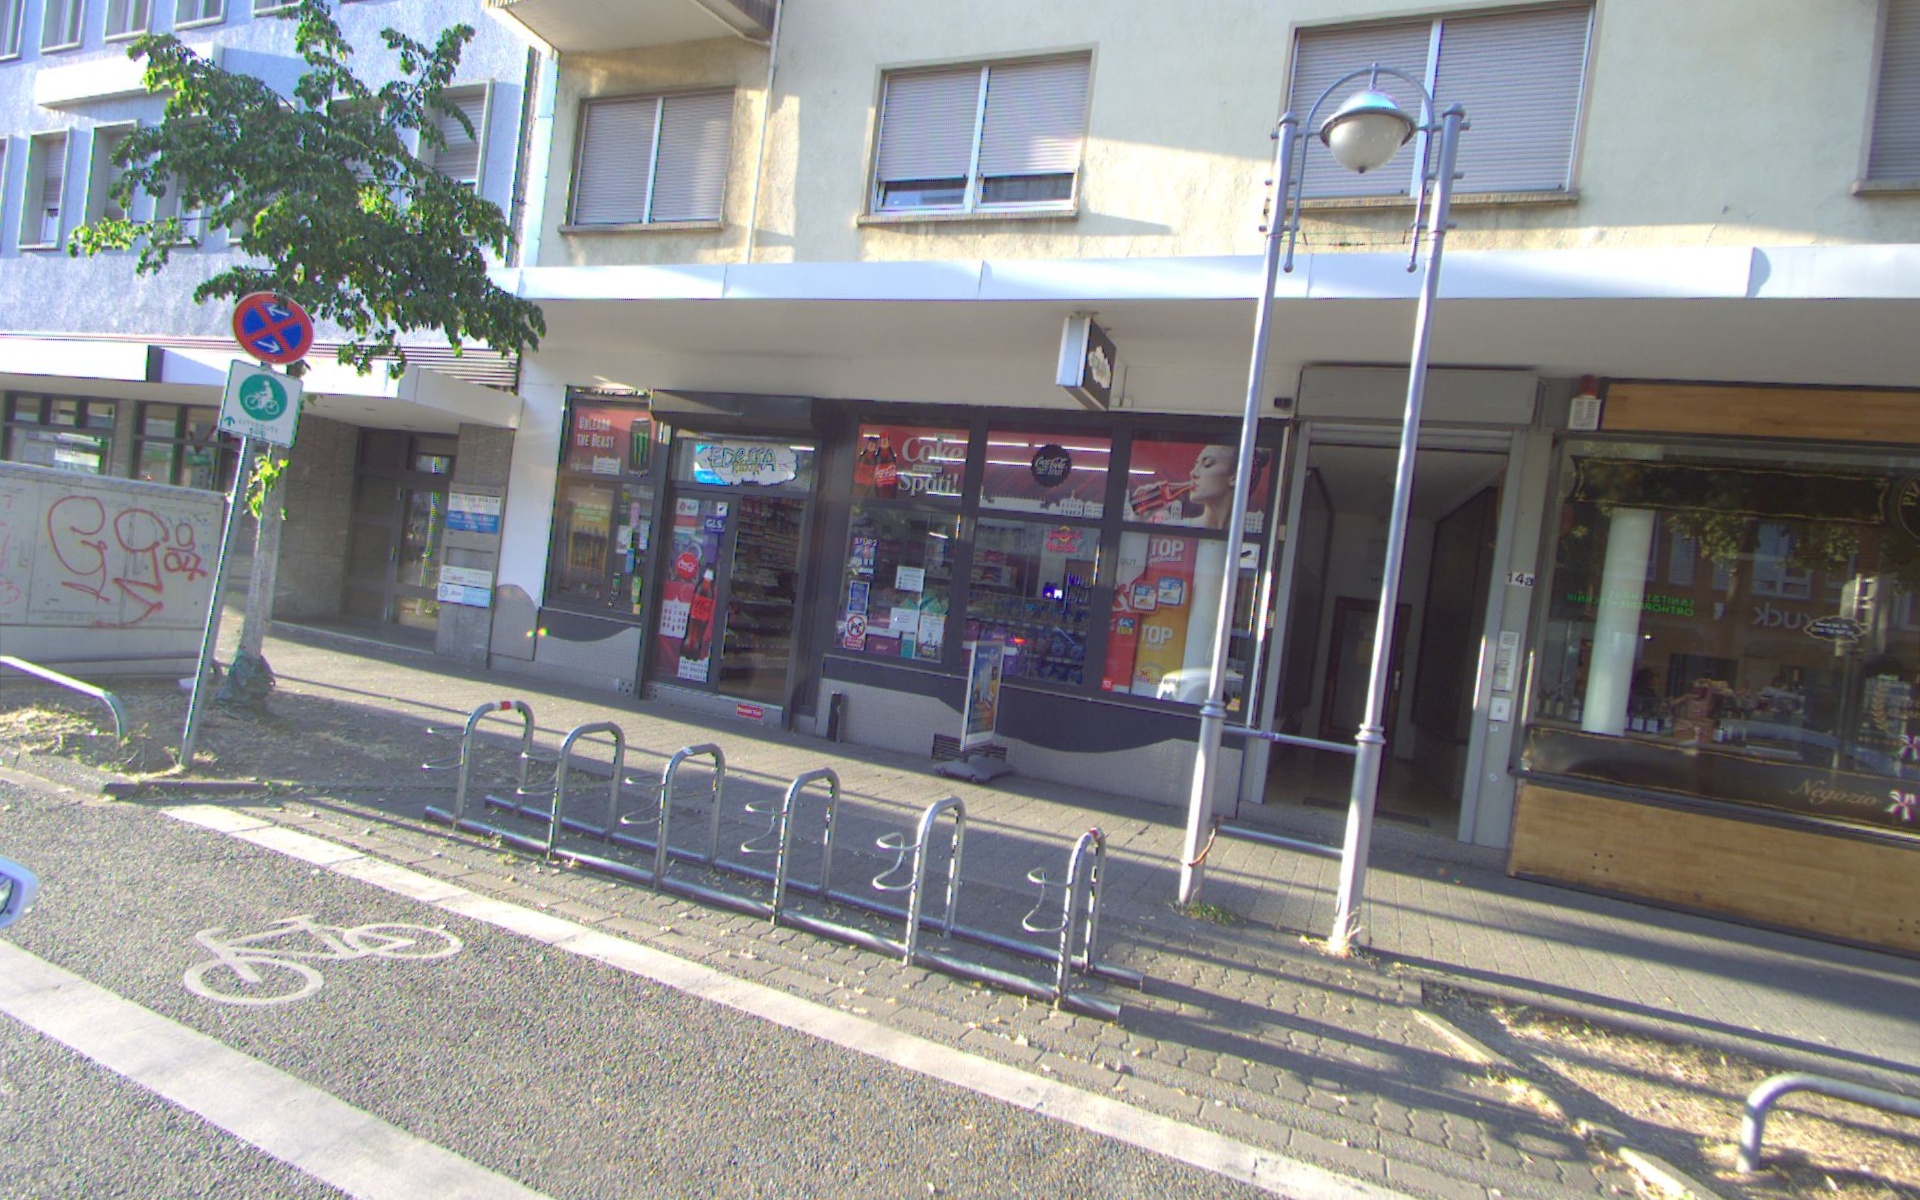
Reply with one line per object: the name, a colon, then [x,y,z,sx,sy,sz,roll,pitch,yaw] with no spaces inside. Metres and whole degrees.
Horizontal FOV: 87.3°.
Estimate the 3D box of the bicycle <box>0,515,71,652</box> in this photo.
bicycle: [-9.123,-0.198,9.129,0.376,1.234,1.445,7,-1,25]
